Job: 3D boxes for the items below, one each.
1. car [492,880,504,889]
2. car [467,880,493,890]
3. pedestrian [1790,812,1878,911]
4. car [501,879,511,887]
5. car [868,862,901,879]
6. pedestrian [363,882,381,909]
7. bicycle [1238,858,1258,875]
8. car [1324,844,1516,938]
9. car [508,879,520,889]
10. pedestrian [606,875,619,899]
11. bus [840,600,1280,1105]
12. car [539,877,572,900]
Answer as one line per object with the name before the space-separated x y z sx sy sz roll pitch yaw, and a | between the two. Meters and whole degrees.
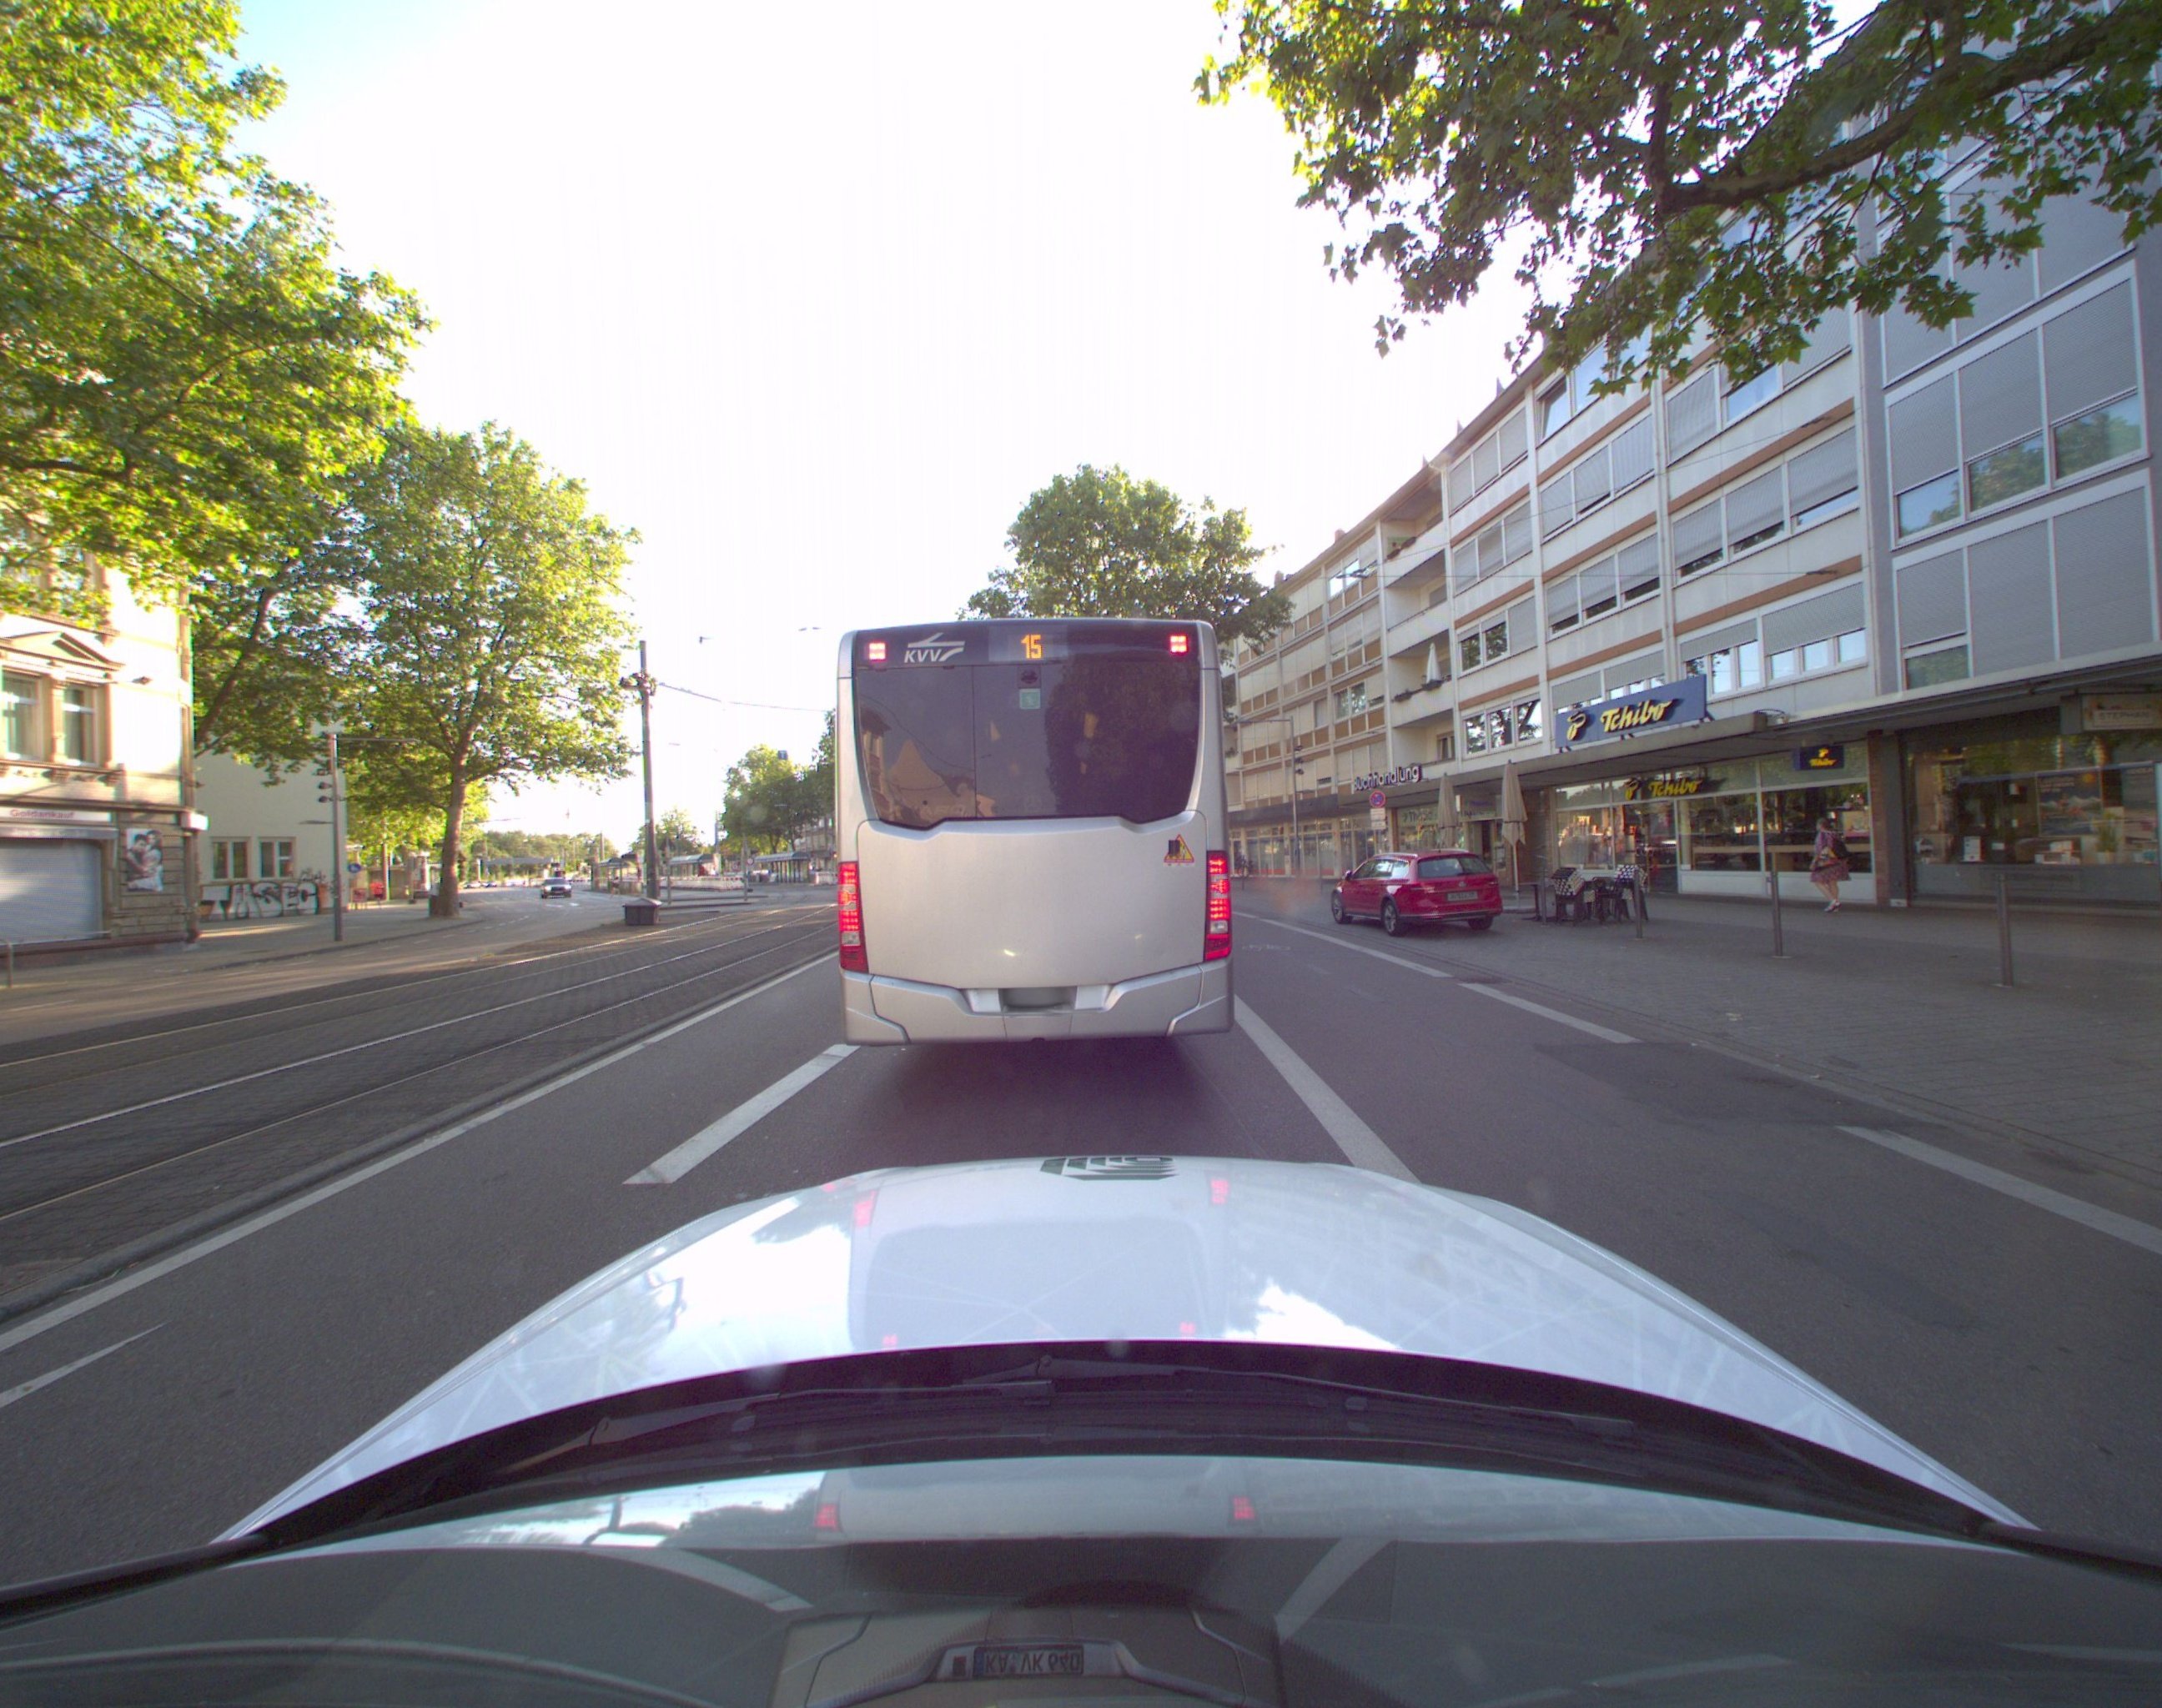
car | -117.824 6.078 164.674 1.858 1.684 3.676 -2 -1 -35
car | -122.662 6.315 166.137 1.768 1.640 4.024 -3 -1 44
pedestrian | 12.797 0.123 13.869 0.649 1.592 0.788 -4 -1 -4
car | -130.087 6.463 184.193 1.858 1.684 3.676 -2 -1 -35
car | -21.404 1.772 88.579 2.010 1.792 3.954 0 -1 -39
pedestrian | -41.125 2.405 47.228 0.487 1.513 0.614 -3 0 25
bicycle | 9.335 0.711 45.451 0.413 0.945 1.431 -2 -1 -18
car | 6.355 0.636 15.848 1.765 1.482 4.300 -3 0 -2
car | -111.442 5.890 160.013 1.858 1.684 3.677 -4 1 -35
pedestrian | -32.251 2.261 56.048 0.661 1.656 0.438 -2 -1 -41
bus | -0.115 0.012 9.944 2.622 3.028 9.995 -1 0 0
car | -40.054 2.605 62.068 2.008 1.640 3.958 -2 -1 -33
